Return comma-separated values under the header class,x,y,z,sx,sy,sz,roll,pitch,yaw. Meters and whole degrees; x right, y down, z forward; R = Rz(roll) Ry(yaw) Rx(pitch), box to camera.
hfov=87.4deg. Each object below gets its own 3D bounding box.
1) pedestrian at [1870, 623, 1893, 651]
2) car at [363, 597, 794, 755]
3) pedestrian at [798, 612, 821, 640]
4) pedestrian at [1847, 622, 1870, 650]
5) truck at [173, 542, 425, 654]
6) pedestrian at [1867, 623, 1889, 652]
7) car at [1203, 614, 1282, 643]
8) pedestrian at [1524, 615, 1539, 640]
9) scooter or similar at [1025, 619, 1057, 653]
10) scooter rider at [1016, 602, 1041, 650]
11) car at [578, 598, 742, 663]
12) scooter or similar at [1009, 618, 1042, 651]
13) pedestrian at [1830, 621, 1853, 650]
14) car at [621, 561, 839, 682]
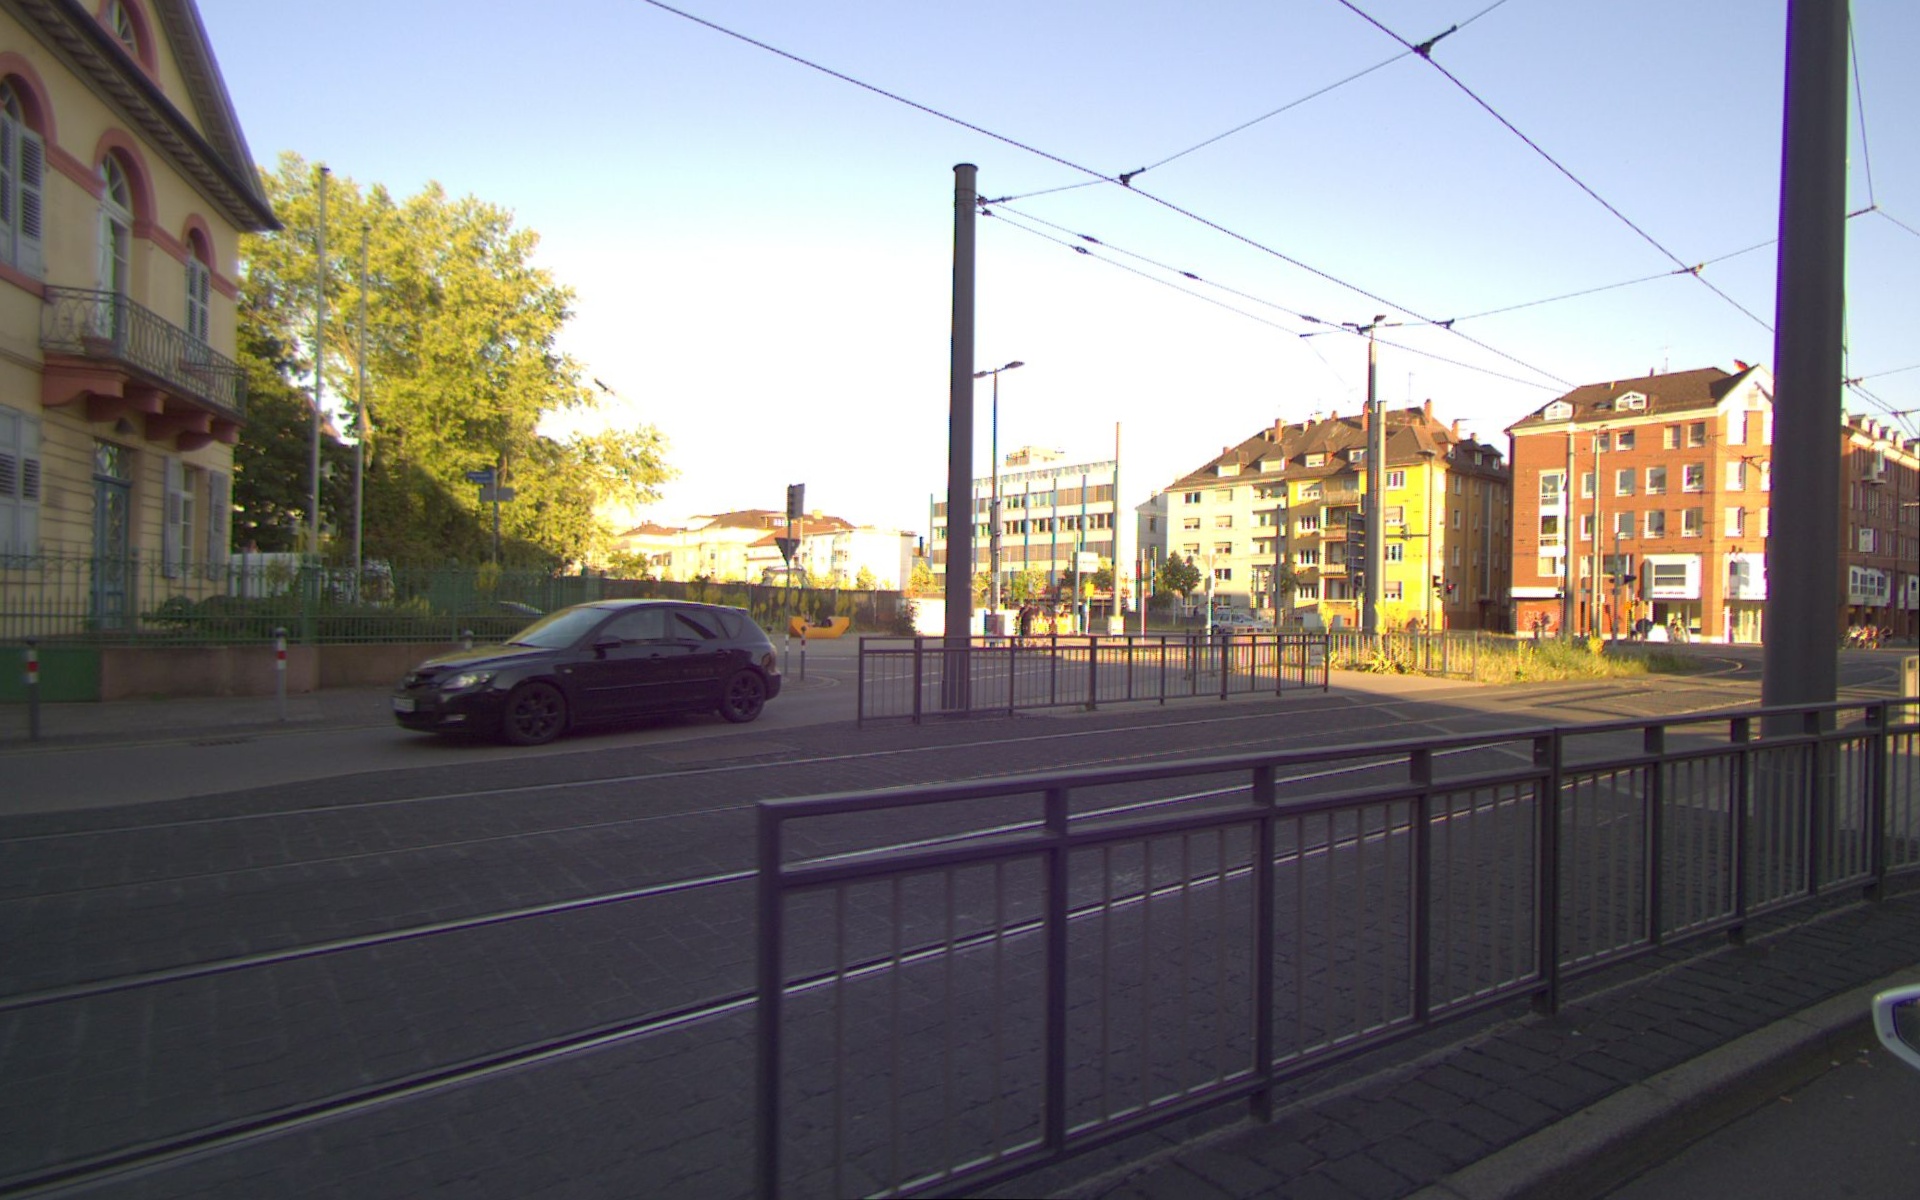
class,x,y,z,sx,sy,sz,roll,pitch,yaw
pedestrian,70.846,2.856,77.203,1.153,2.040,1.085,2,1,-38
car,-4.031,0.708,11.225,1.745,1.394,4.203,1,0,39
pedestrian,-6.813,1.159,45.459,0.698,1.227,0.718,2,1,-37
pedestrian,67.709,2.726,75.688,0.900,2.040,1.085,1,1,-38
truck,-18.050,-0.066,27.641,5.359,2.735,2.196,2,1,-1
pedestrian,67.589,2.745,73.941,0.900,2.040,0.969,1,1,-38
car,17.494,1.760,62.340,1.986,1.572,4.297,2,0,-43
pedestrian,42.483,2.029,74.663,0.655,1.766,0.690,2,0,-3
scooter or similar,2.769,1.225,34.277,0.419,1.097,1.621,3,1,29
scooter rider,2.375,0.884,34.762,0.577,1.614,0.656,3,1,34
car,-8.297,0.819,28.036,3.921,1.567,2.000,2,1,0
scooter or similar,2.252,1.162,34.525,0.419,1.077,1.621,3,1,29
pedestrian,66.016,2.653,75.221,0.900,2.040,1.085,1,1,-38
car,-4.391,0.363,18.958,3.938,2.040,1.991,1,-1,39
